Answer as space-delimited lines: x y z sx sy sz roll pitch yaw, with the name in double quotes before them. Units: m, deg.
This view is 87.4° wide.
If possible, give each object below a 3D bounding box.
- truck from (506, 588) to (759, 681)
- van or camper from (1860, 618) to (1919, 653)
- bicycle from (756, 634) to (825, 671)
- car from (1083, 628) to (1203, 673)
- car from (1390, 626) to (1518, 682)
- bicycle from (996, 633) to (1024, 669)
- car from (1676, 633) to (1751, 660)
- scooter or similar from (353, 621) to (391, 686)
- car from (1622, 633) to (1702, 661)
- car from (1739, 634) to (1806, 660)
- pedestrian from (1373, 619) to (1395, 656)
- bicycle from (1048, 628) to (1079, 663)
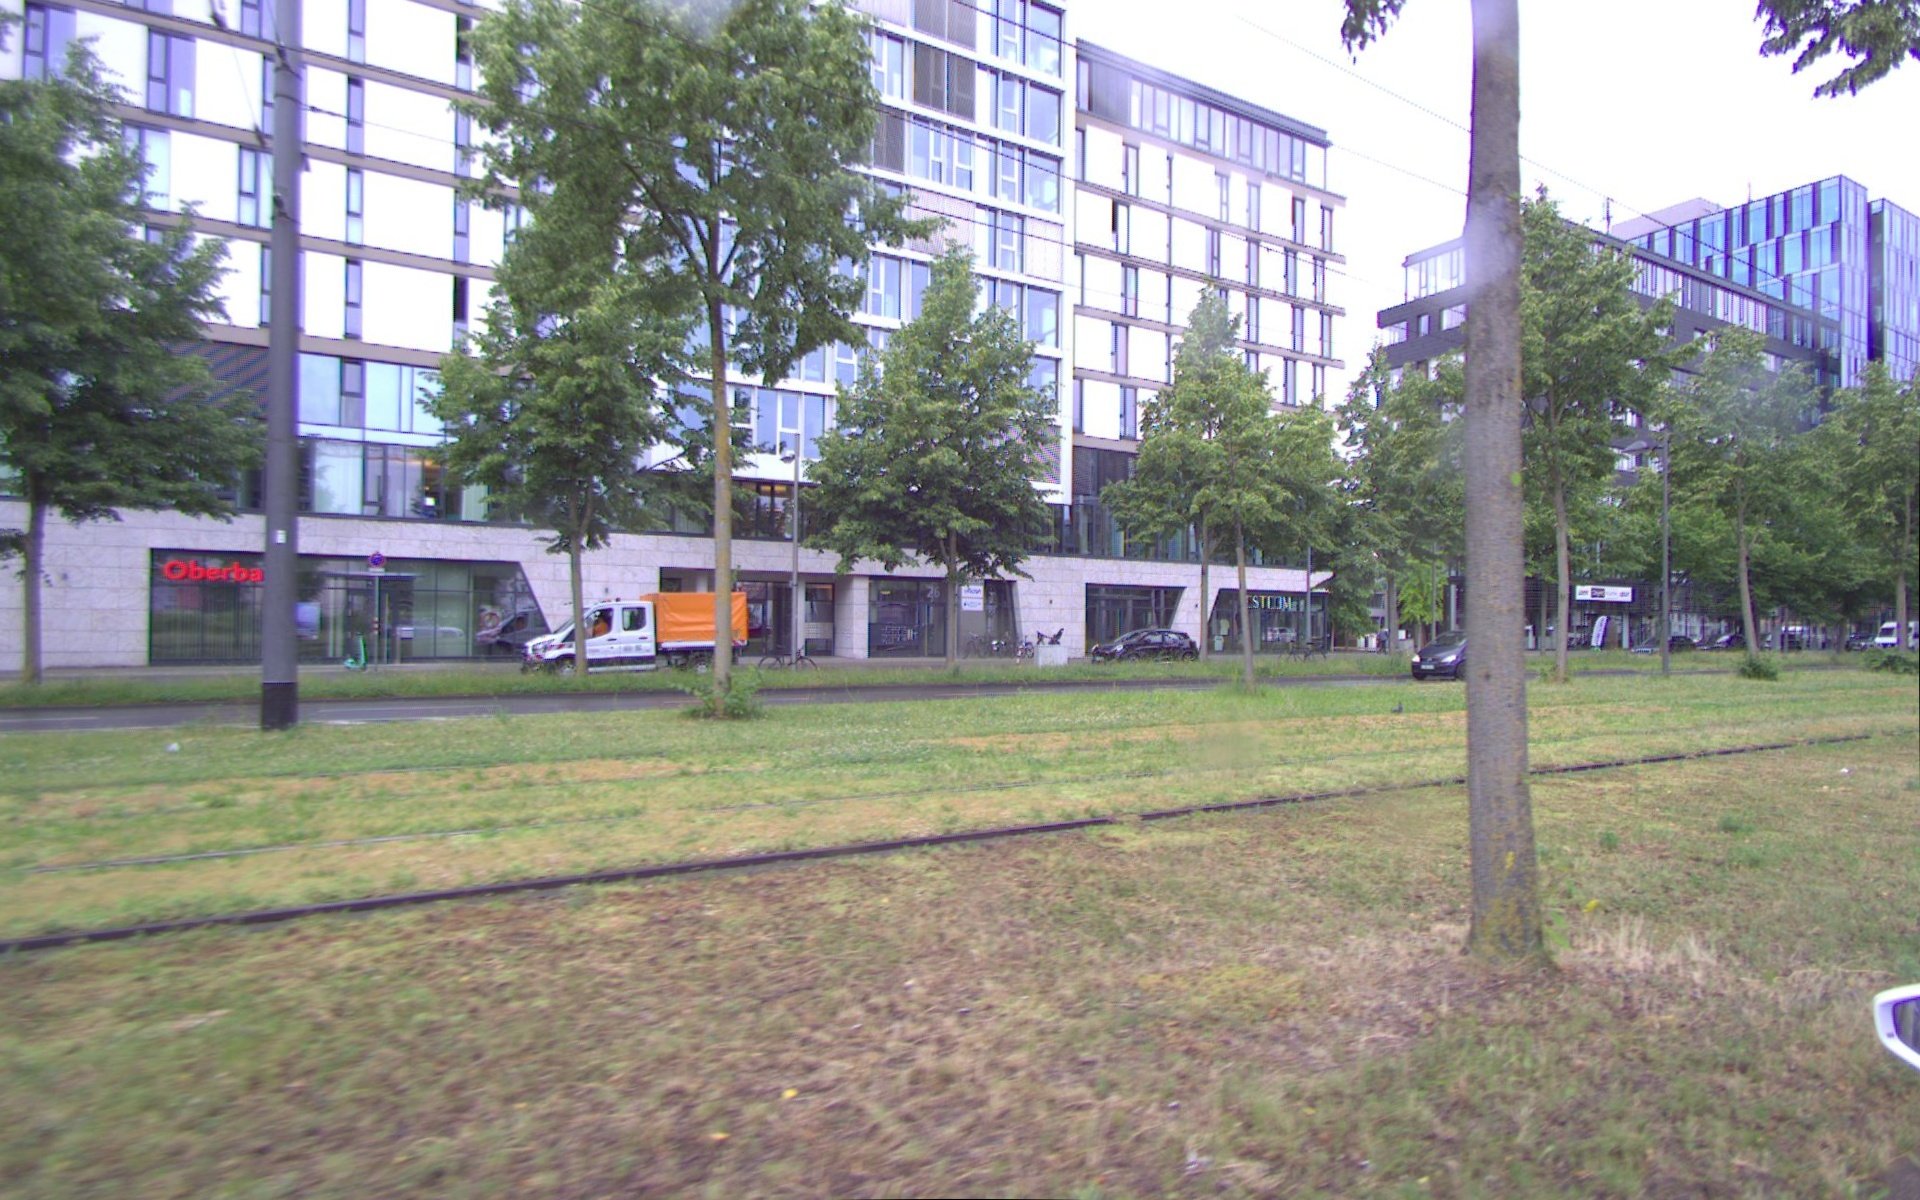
"truck" -8.906 0.927 27.496 6.234 2.322 2.415 1 -1 -30
"van or camper" 65.291 2.453 69.812 5.780 2.346 2.422 1 -1 -30
"bicycle" -4.598 1.415 27.300 1.734 0.957 0.597 1 -1 -26
"car" 6.478 1.741 35.471 3.942 1.484 1.846 1 -1 -30
"car" 15.807 1.692 32.115 3.655 1.678 1.985 1 -1 -29
"bicycle" 2.184 2.224 43.943 0.540 1.502 1.425 1 -1 -30
"car" 42.386 2.611 56.488 3.952 1.397 1.984 1 -1 -30
"scooter or similar" -17.538 1.553 29.953 0.875 1.849 2.112 1 -1 -33
"car" 36.955 2.446 52.851 3.952 1.397 1.984 1 -1 -30
"car" 47.833 2.744 59.144 4.191 1.468 1.694 1 -1 -30
"pedestrian" 23.924 2.112 56.706 0.846 2.007 0.790 1 -1 -31
"bicycle" 4.690 2.055 45.596 0.600 1.559 1.560 1 -1 -30
